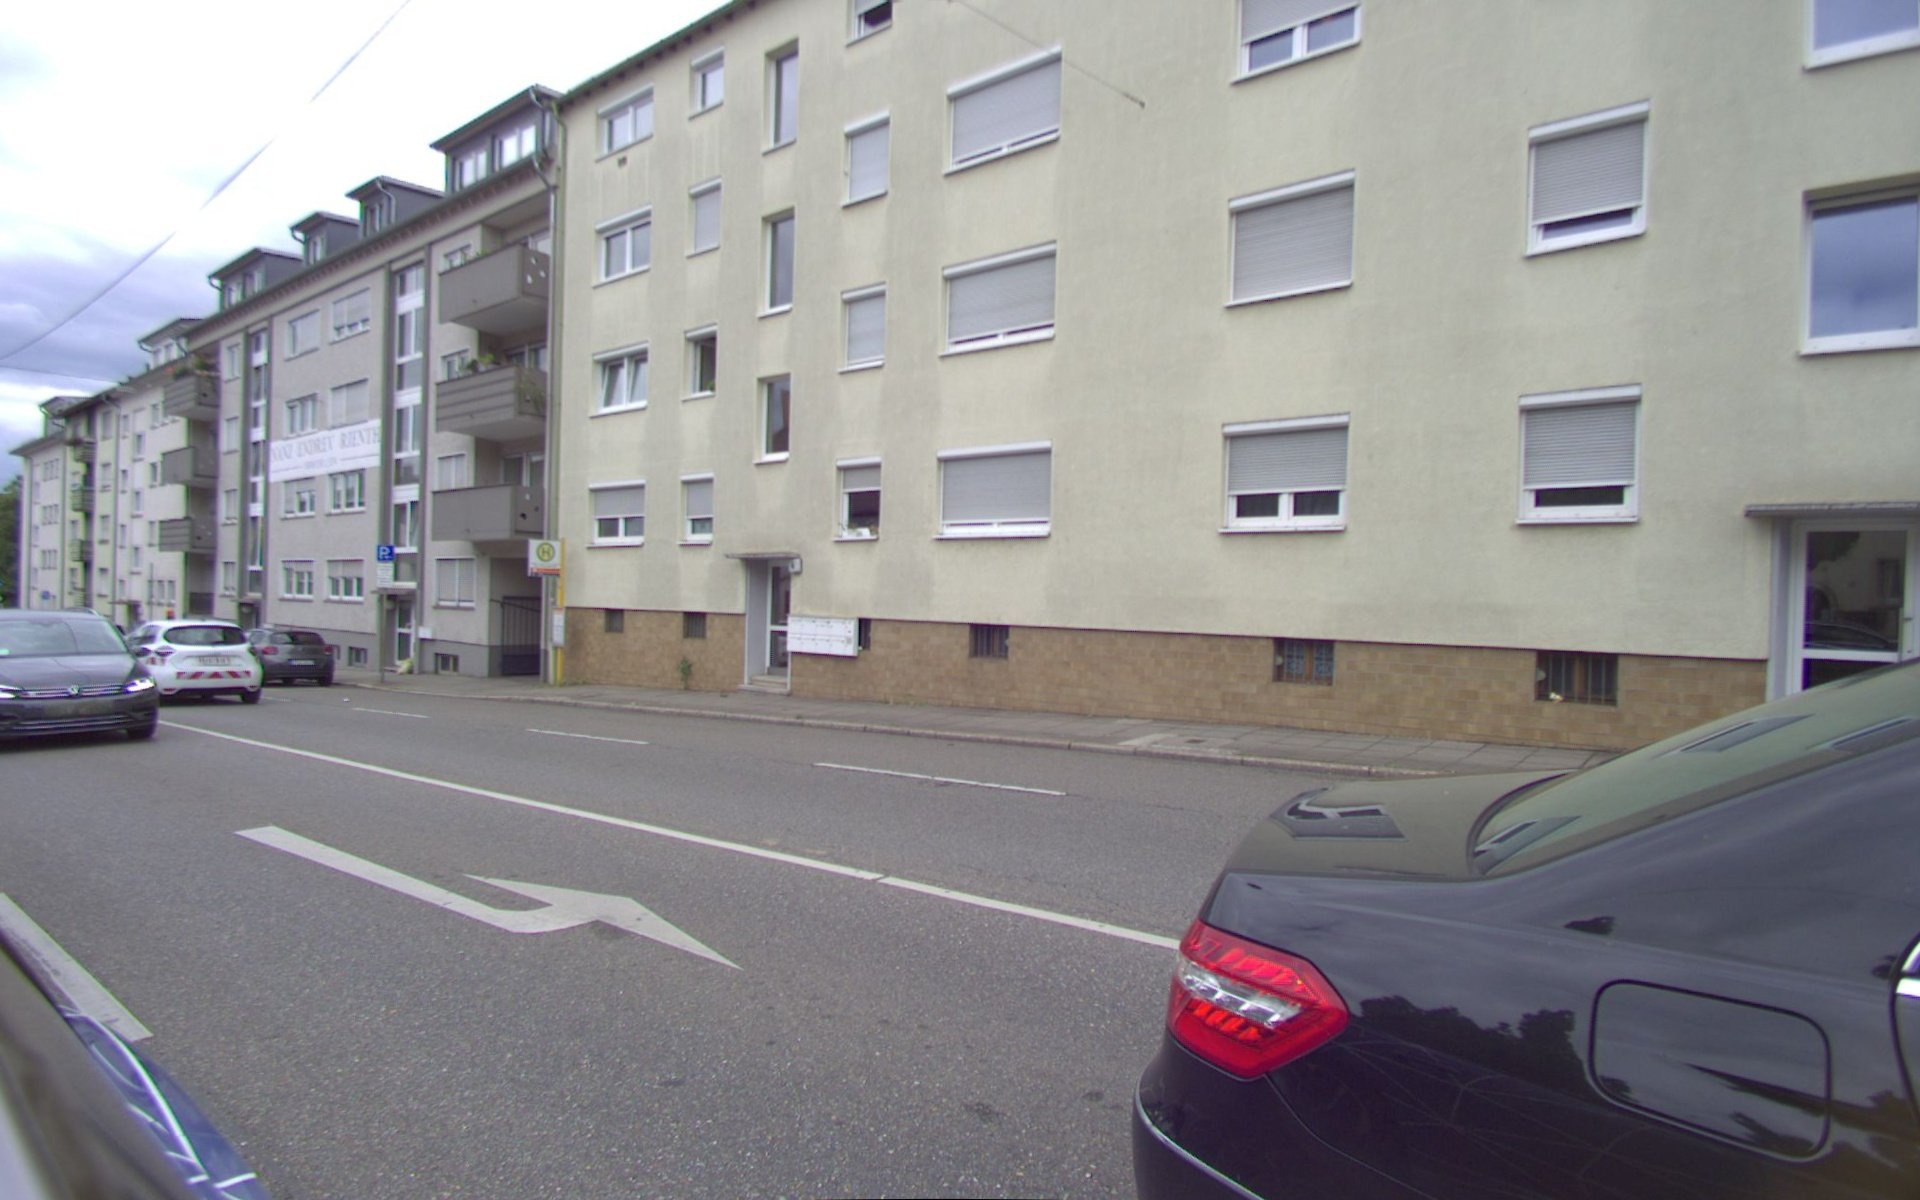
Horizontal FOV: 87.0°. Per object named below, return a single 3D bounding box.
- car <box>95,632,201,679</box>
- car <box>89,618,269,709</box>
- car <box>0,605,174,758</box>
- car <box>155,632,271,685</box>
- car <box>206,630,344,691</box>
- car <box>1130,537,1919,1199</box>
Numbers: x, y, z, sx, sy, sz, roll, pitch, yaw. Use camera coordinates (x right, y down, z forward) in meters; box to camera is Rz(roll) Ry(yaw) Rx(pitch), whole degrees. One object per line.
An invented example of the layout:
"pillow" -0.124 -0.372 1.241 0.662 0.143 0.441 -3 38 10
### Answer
"car" -26.227 1.764 32.669 3.533 1.414 1.755 -1 -3 36
"car" -14.807 1.127 19.126 4.078 1.533 1.753 -1 -2 39
"car" -11.701 0.905 12.751 4.474 1.623 1.840 -1 0 38
"car" -21.439 1.652 29.006 3.533 1.386 1.649 -1 -3 36
"car" -17.566 1.517 25.911 3.680 1.422 1.755 -1 -3 36
"car" 2.721 0.650 0.701 4.840 1.440 1.973 -1 -2 41
